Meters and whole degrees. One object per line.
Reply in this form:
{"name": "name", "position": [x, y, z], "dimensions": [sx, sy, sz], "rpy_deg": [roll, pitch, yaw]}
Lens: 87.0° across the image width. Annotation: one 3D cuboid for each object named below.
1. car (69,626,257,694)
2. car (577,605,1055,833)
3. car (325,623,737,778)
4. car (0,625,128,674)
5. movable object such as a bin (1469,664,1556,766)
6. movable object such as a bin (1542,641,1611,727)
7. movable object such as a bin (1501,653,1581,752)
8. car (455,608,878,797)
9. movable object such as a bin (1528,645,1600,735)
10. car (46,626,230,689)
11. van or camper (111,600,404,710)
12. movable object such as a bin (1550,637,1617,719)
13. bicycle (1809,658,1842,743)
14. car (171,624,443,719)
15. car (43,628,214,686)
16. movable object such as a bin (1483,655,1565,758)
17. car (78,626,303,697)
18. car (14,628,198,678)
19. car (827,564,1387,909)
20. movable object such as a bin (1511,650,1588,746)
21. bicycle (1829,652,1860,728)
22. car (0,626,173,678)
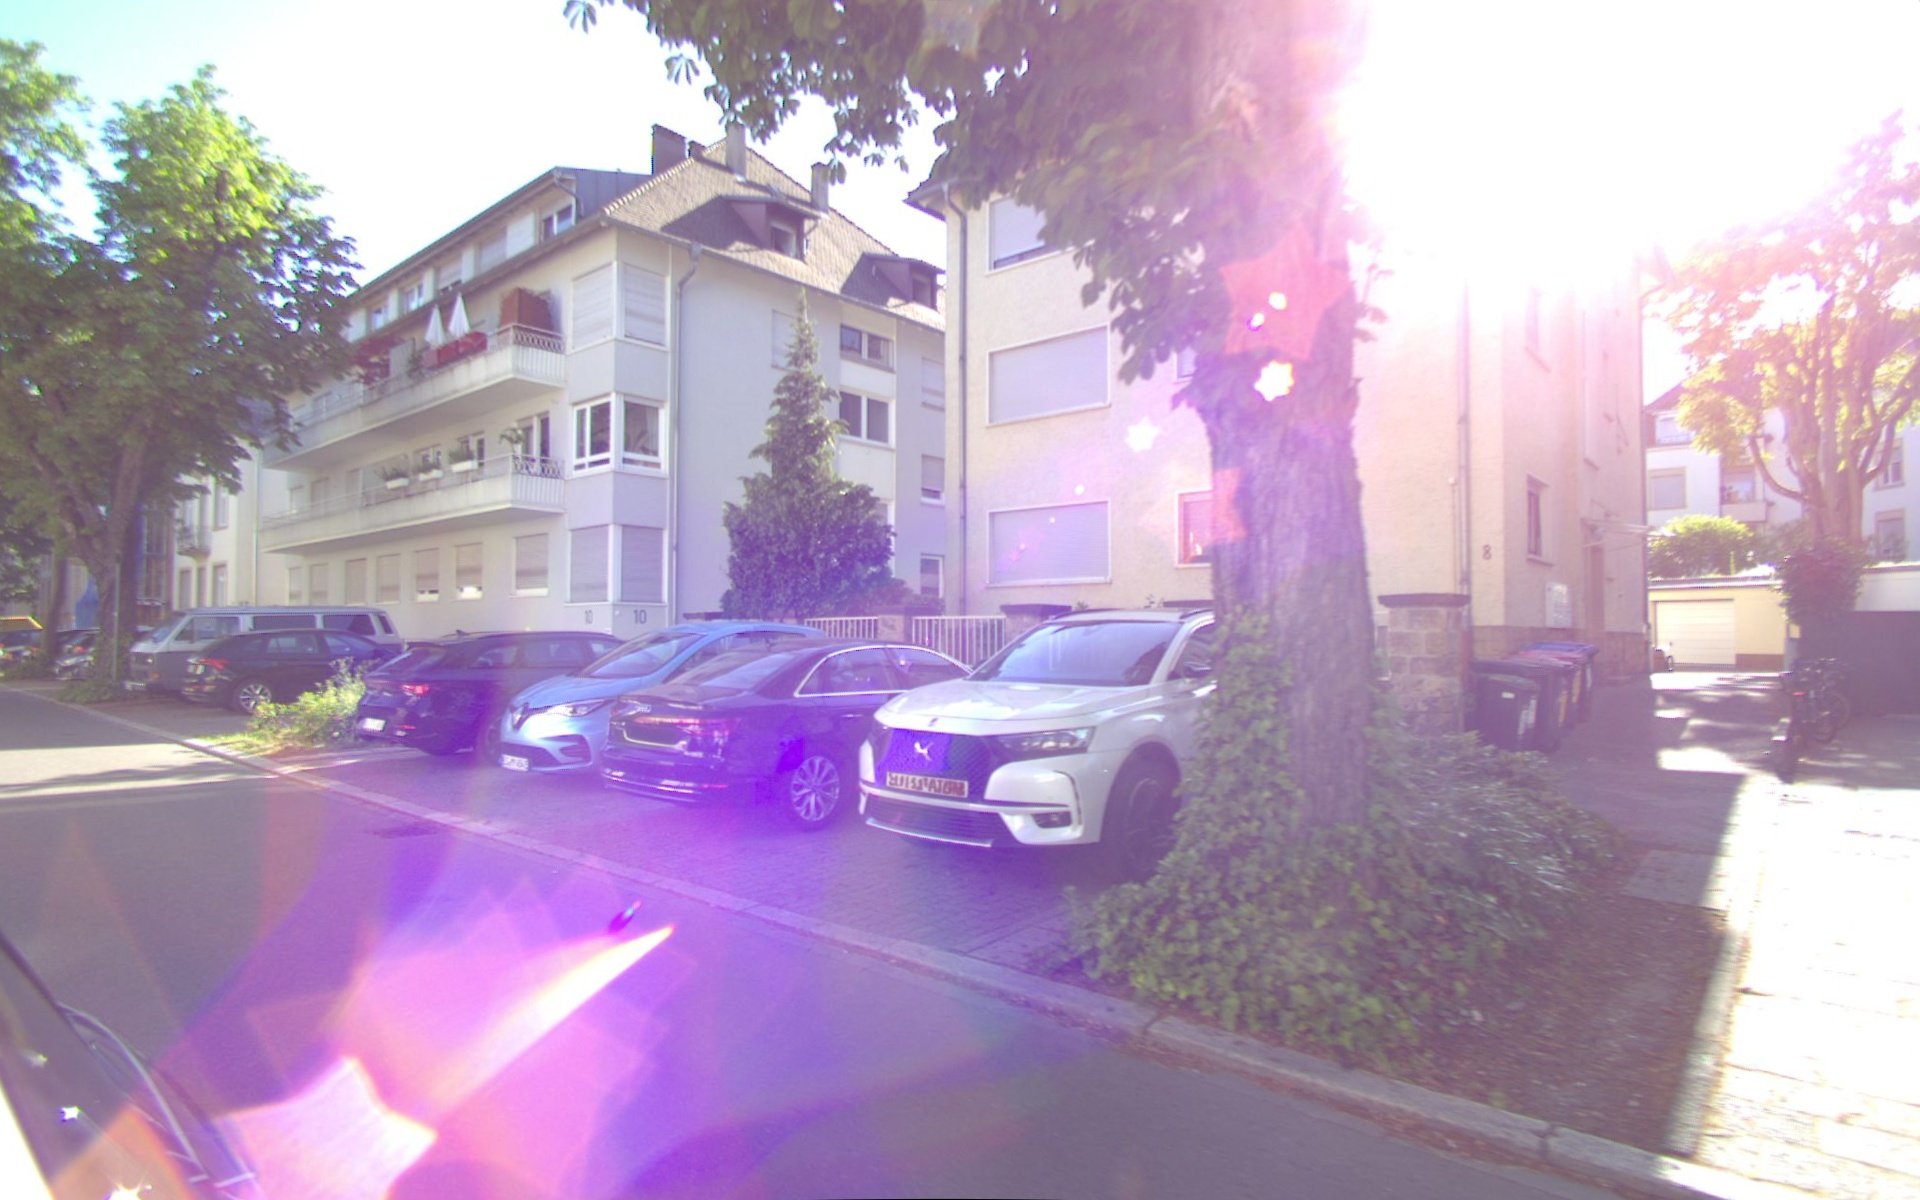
{"name": "car", "position": [-19.731, 1.422, 25.133], "dimensions": [1.797, 1.469, 3.441], "rpy_deg": [-1, -1, 42]}
{"name": "car", "position": [-1.000, 0.851, 8.681], "dimensions": [1.696, 1.479, 3.946], "rpy_deg": [-2, -3, 40]}
{"name": "car", "position": [-4.916, 1.059, 12.102], "dimensions": [1.860, 1.510, 4.145], "rpy_deg": [-1, -3, 39]}
{"name": "car", "position": [-32.528, 1.732, 36.246], "dimensions": [1.827, 1.525, 3.841], "rpy_deg": [-1, 0, 32]}
{"name": "movable object such as a bin", "position": [5.878, 1.204, 10.769], "dimensions": [0.705, 0.983, 0.578], "rpy_deg": [0, 0, 41]}
{"name": "movable object such as a bin", "position": [8.106, 1.085, 13.310], "dimensions": [0.705, 1.056, 0.525], "rpy_deg": [0, 0, 41]}
{"name": "movable object such as a bin", "position": [6.680, 1.159, 11.639], "dimensions": [0.705, 1.056, 0.525], "rpy_deg": [0, 0, 41]}
{"name": "car", "position": [-2.908, 0.945, 10.722], "dimensions": [1.876, 1.604, 3.947], "rpy_deg": [-1, -3, 39]}
{"name": "movable object such as a bin", "position": [7.616, 1.110, 12.760], "dimensions": [0.705, 1.056, 0.525], "rpy_deg": [0, 0, 41]}
{"name": "car", "position": [-21.801, 1.460, 26.925], "dimensions": [1.710, 1.474, 3.604], "rpy_deg": [-1, -1, 43]}
{"name": "van or camper", "position": [-13.880, 1.039, 20.214], "dimensions": [1.963, 1.929, 4.450], "rpy_deg": [-1, -2, 40]}
{"name": "movable object such as a bin", "position": [8.505, 1.044, 13.798], "dimensions": [0.705, 1.056, 0.525], "rpy_deg": [0, 0, 41]}
{"name": "bicycle", "position": [11.510, 1.308, 13.476], "dimensions": [0.304, 0.988, 1.604], "rpy_deg": [0, 0, 40]}
{"name": "car", "position": [-11.814, 1.215, 18.488], "dimensions": [1.662, 1.510, 3.902], "rpy_deg": [-2, -1, 43]}
{"name": "car", "position": [-23.528, 1.564, 28.720], "dimensions": [1.707, 1.431, 3.448], "rpy_deg": [0, 0, 36]}
{"name": "movable object such as a bin", "position": [6.272, 1.164, 11.249], "dimensions": [0.705, 1.056, 0.525], "rpy_deg": [0, 0, 41]}
{"name": "car", "position": [-17.848, 1.370, 23.606], "dimensions": [1.713, 1.425, 3.884], "rpy_deg": [-2, -1, 38]}
{"name": "car", "position": [-26.610, 1.620, 31.649], "dimensions": [1.711, 1.452, 4.145], "rpy_deg": [-1, -2, 39]}
{"name": "car", "position": [1.309, 0.798, 7.154], "dimensions": [1.822, 1.665, 4.339], "rpy_deg": [-4, -5, 41]}
{"name": "movable object such as a bin", "position": [7.037, 1.154, 12.082], "dimensions": [0.705, 1.056, 0.525], "rpy_deg": [0, 0, 41]}
{"name": "bicycle", "position": [13.633, 1.365, 15.610], "dimensions": [0.304, 1.022, 1.604], "rpy_deg": [0, 0, 40]}
{"name": "car", "position": [-29.127, 1.670, 33.479], "dimensions": [1.831, 1.619, 4.544], "rpy_deg": [-1, -2, 38]}
